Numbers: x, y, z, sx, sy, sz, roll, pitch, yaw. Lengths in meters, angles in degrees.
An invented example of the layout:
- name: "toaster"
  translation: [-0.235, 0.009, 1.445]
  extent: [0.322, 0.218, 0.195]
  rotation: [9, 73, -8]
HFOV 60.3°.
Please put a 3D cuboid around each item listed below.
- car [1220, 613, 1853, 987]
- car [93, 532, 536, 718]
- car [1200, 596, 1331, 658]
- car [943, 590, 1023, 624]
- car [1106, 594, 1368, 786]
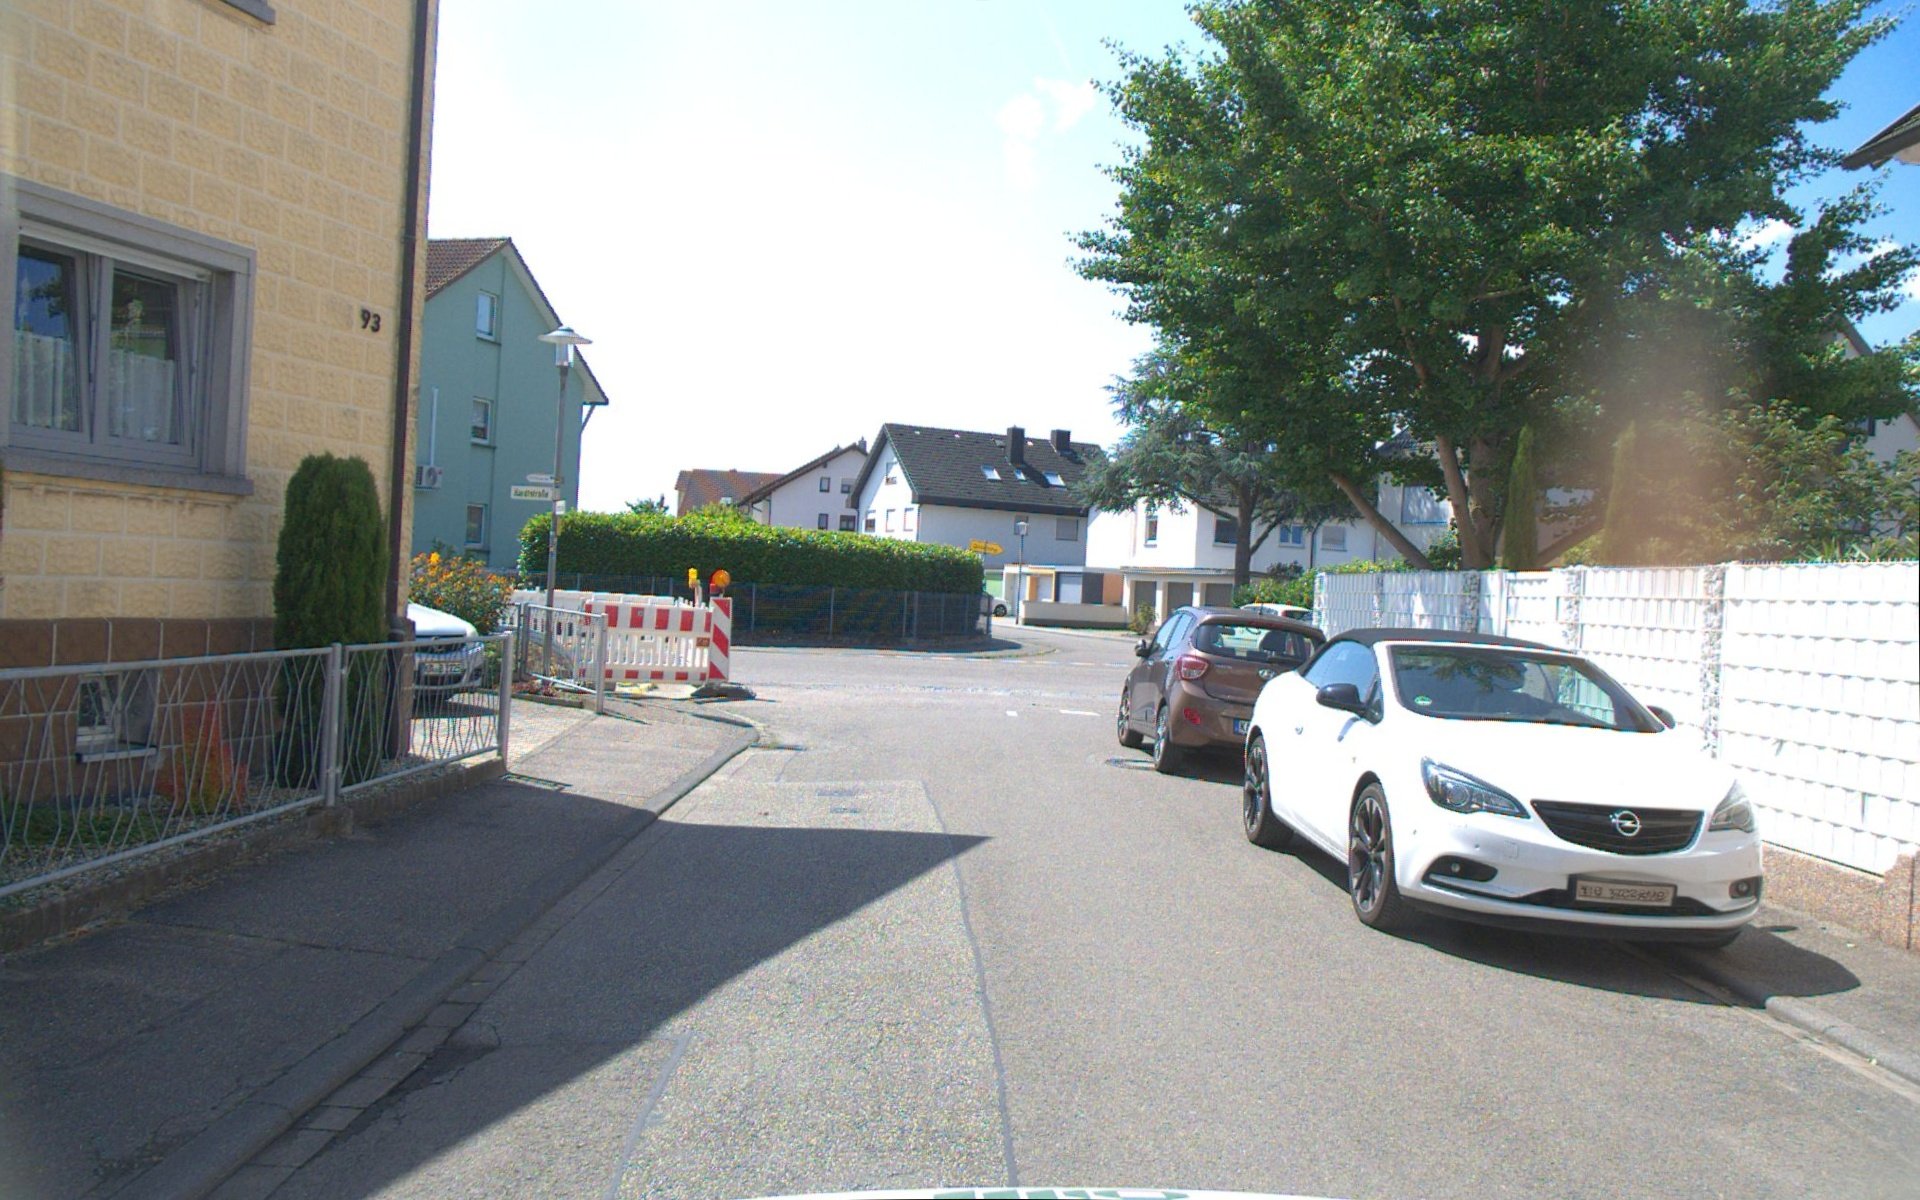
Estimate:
- name: "car"
  translation: [2.881, 0.889, 9.548]
  extent: [1.857, 1.453, 4.736]
  rotation: [4, 0, -1]
- name: "car"
  translation: [-6.511, 0.195, 16.564]
  extent: [4.377, 1.511, 1.788]
  rotation: [3, 0, 31]
- name: "car"
  translation: [9.099, 0.787, 49.617]
  extent: [1.775, 1.590, 4.111]
  rotation: [3, 1, -25]
- name: "car"
  translation: [1.139, 0.342, 82.346]
  extent: [3.550, 1.433, 1.772]
  rotation: [3, 0, -23]
- name: "car"
  translation: [2.594, 0.775, 16.402]
  extent: [1.678, 1.559, 4.033]
  rotation: [3, 0, -3]
